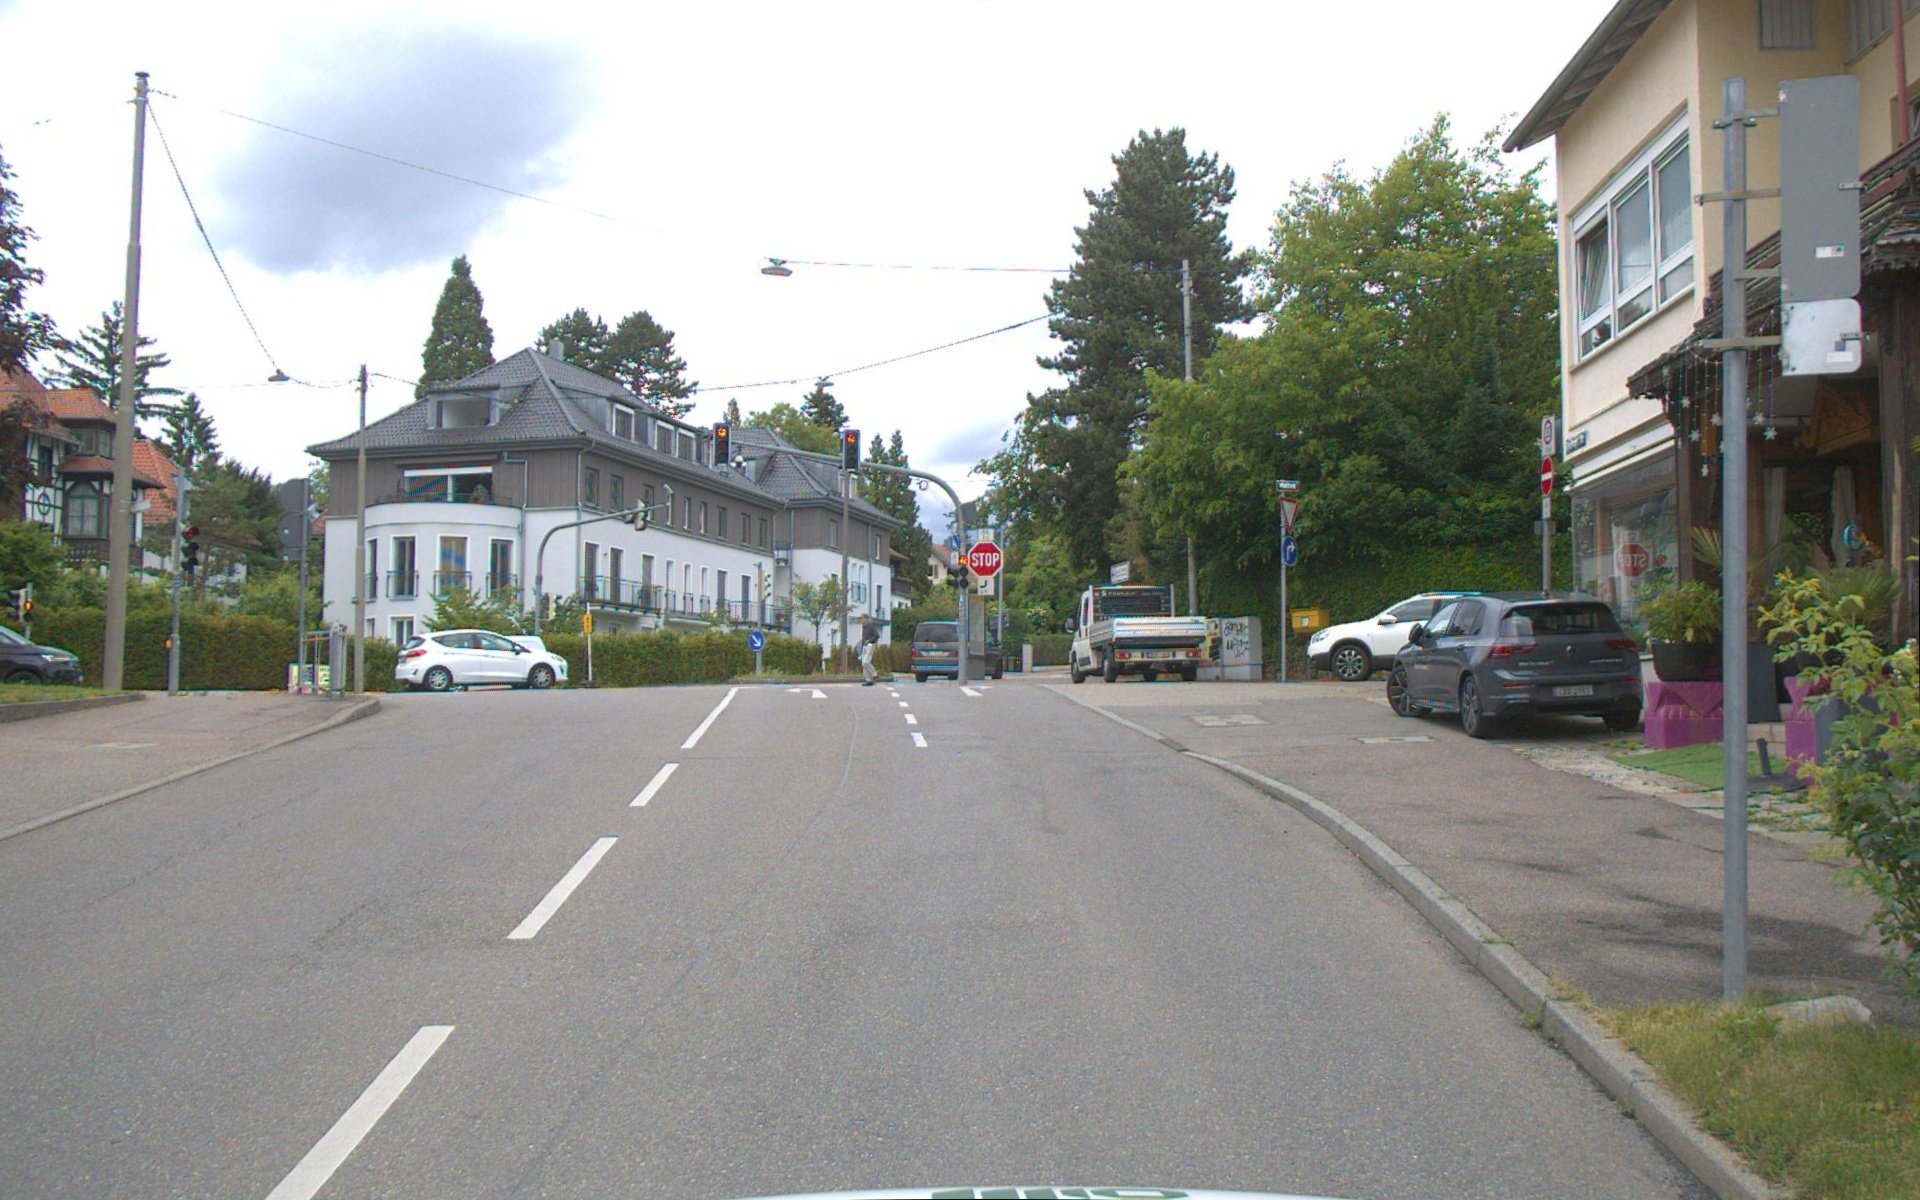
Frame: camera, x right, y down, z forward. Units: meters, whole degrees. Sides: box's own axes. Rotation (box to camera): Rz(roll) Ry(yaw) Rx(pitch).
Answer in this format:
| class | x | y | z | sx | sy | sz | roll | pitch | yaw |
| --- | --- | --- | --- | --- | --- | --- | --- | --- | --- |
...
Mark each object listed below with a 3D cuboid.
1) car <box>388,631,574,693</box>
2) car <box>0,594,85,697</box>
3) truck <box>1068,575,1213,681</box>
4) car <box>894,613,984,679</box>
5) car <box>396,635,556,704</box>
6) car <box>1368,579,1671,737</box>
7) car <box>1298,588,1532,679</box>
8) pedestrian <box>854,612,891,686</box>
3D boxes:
| class | x | y | z | sx | sy | sz | roll | pitch | yaw |
| --- | --- | --- | --- | --- | --- | --- | --- | --- | --- |
| car | -11.486 | 1.457 | 39.719 | 3.948 | 1.407 | 1.916 | 1 | -1 | -32 |
| car | -20.927 | 0.895 | 34.323 | 4.704 | 2.049 | 1.985 | 2 | 0 | -25 |
| truck | 4.037 | 0.745 | 38.096 | 2.141 | 2.234 | 5.873 | 0 | -3 | -6 |
| car | -0.639 | 1.589 | 55.435 | 1.951 | 2.049 | 4.512 | -1 | -4 | 14 |
| car | -14.501 | 2.041 | 49.755 | 1.961 | 1.889 | 4.335 | 1 | 0 | 37 |
| car | 6.105 | 0.588 | 18.633 | 1.811 | 1.498 | 4.384 | -2 | 0 | -1 |
| car | 8.671 | 0.672 | 31.551 | 4.151 | 1.622 | 1.988 | -1 | -4 | 18 |
| pedestrian | -2.058 | 1.132 | 38.852 | 0.689 | 1.711 | 0.680 | 0 | 0 | -25 |
